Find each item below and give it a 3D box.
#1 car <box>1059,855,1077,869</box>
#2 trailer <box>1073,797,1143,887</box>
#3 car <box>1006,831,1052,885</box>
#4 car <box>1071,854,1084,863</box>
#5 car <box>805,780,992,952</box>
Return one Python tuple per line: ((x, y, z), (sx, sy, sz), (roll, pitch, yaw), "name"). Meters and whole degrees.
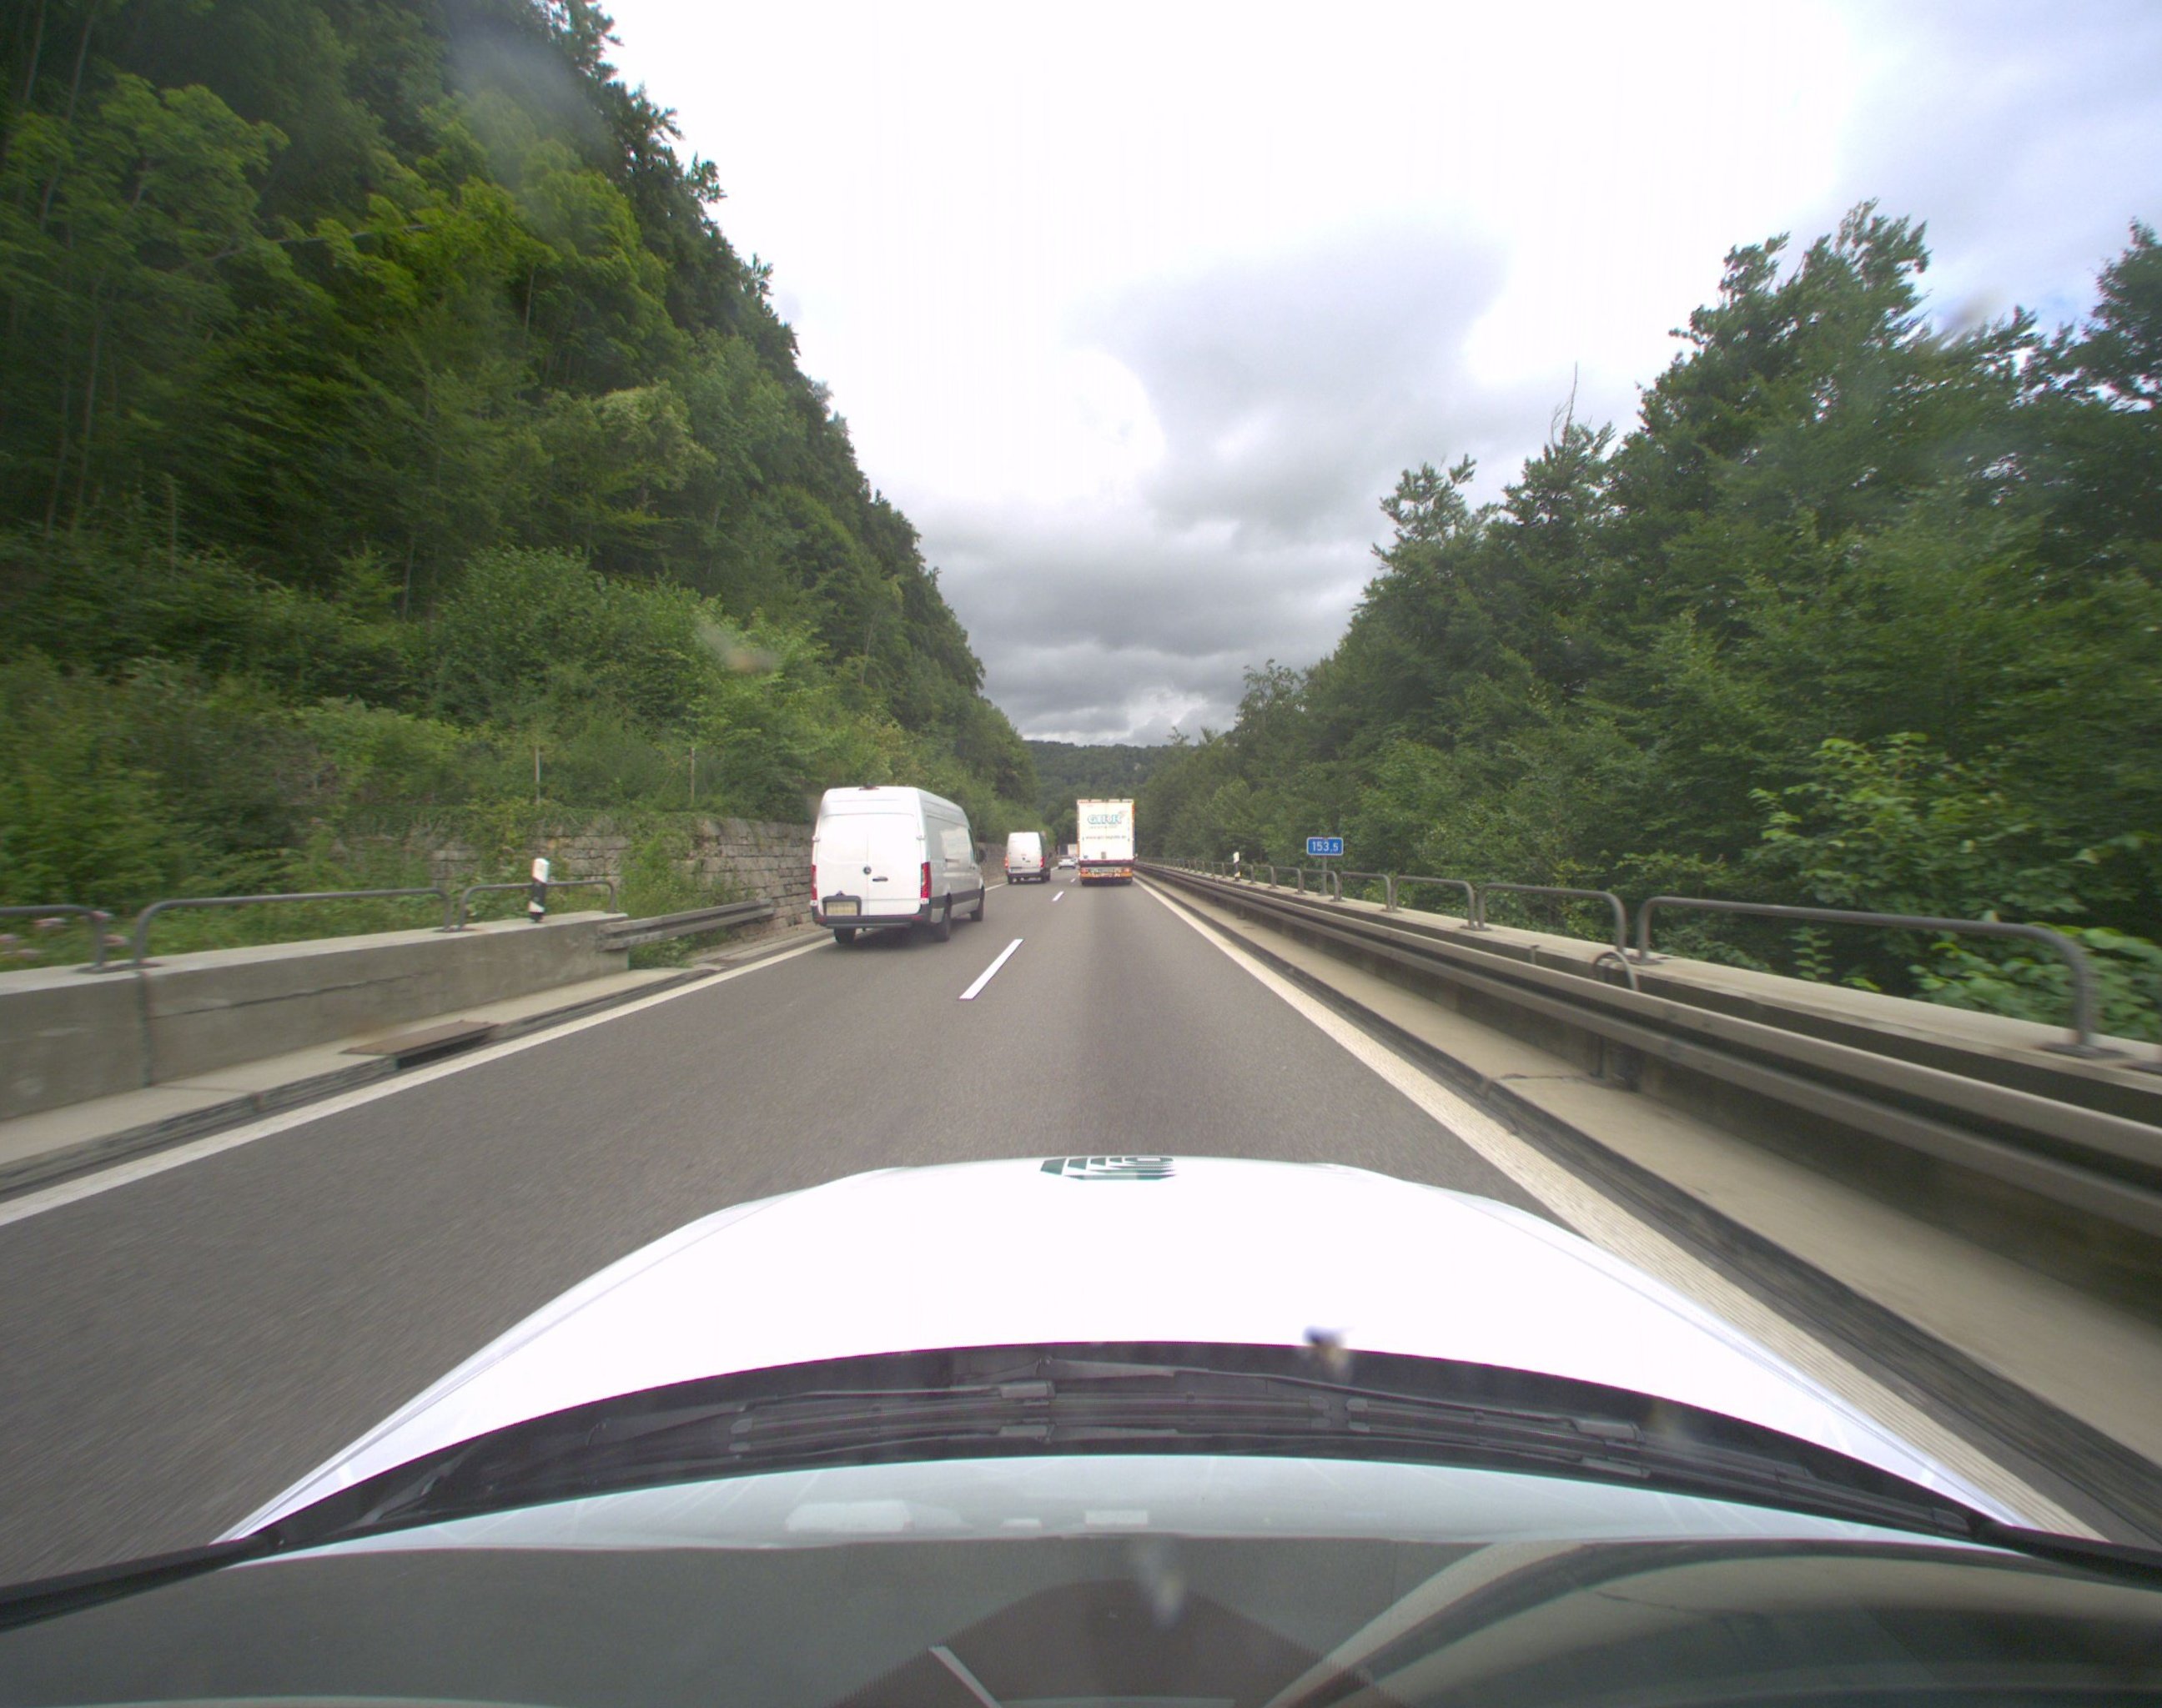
((-1.382, 0.788, 86.563), (1.725, 1.421, 4.002), (0, 0, 2), "car")
((1.355, -0.686, 42.163), (3.046, 3.986, 12.141), (0, 1, 1), "trailer")
((-2.733, 0.174, 43.933), (1.933, 2.672, 5.992), (-1, 0, 1), "car")
((-0.511, 0.653, 121.985), (1.725, 1.421, 4.002), (0, 0, 2), "car")
((-3.243, 0.181, 16.270), (1.982, 2.672, 6.938), (-1, 0, 1), "car")
